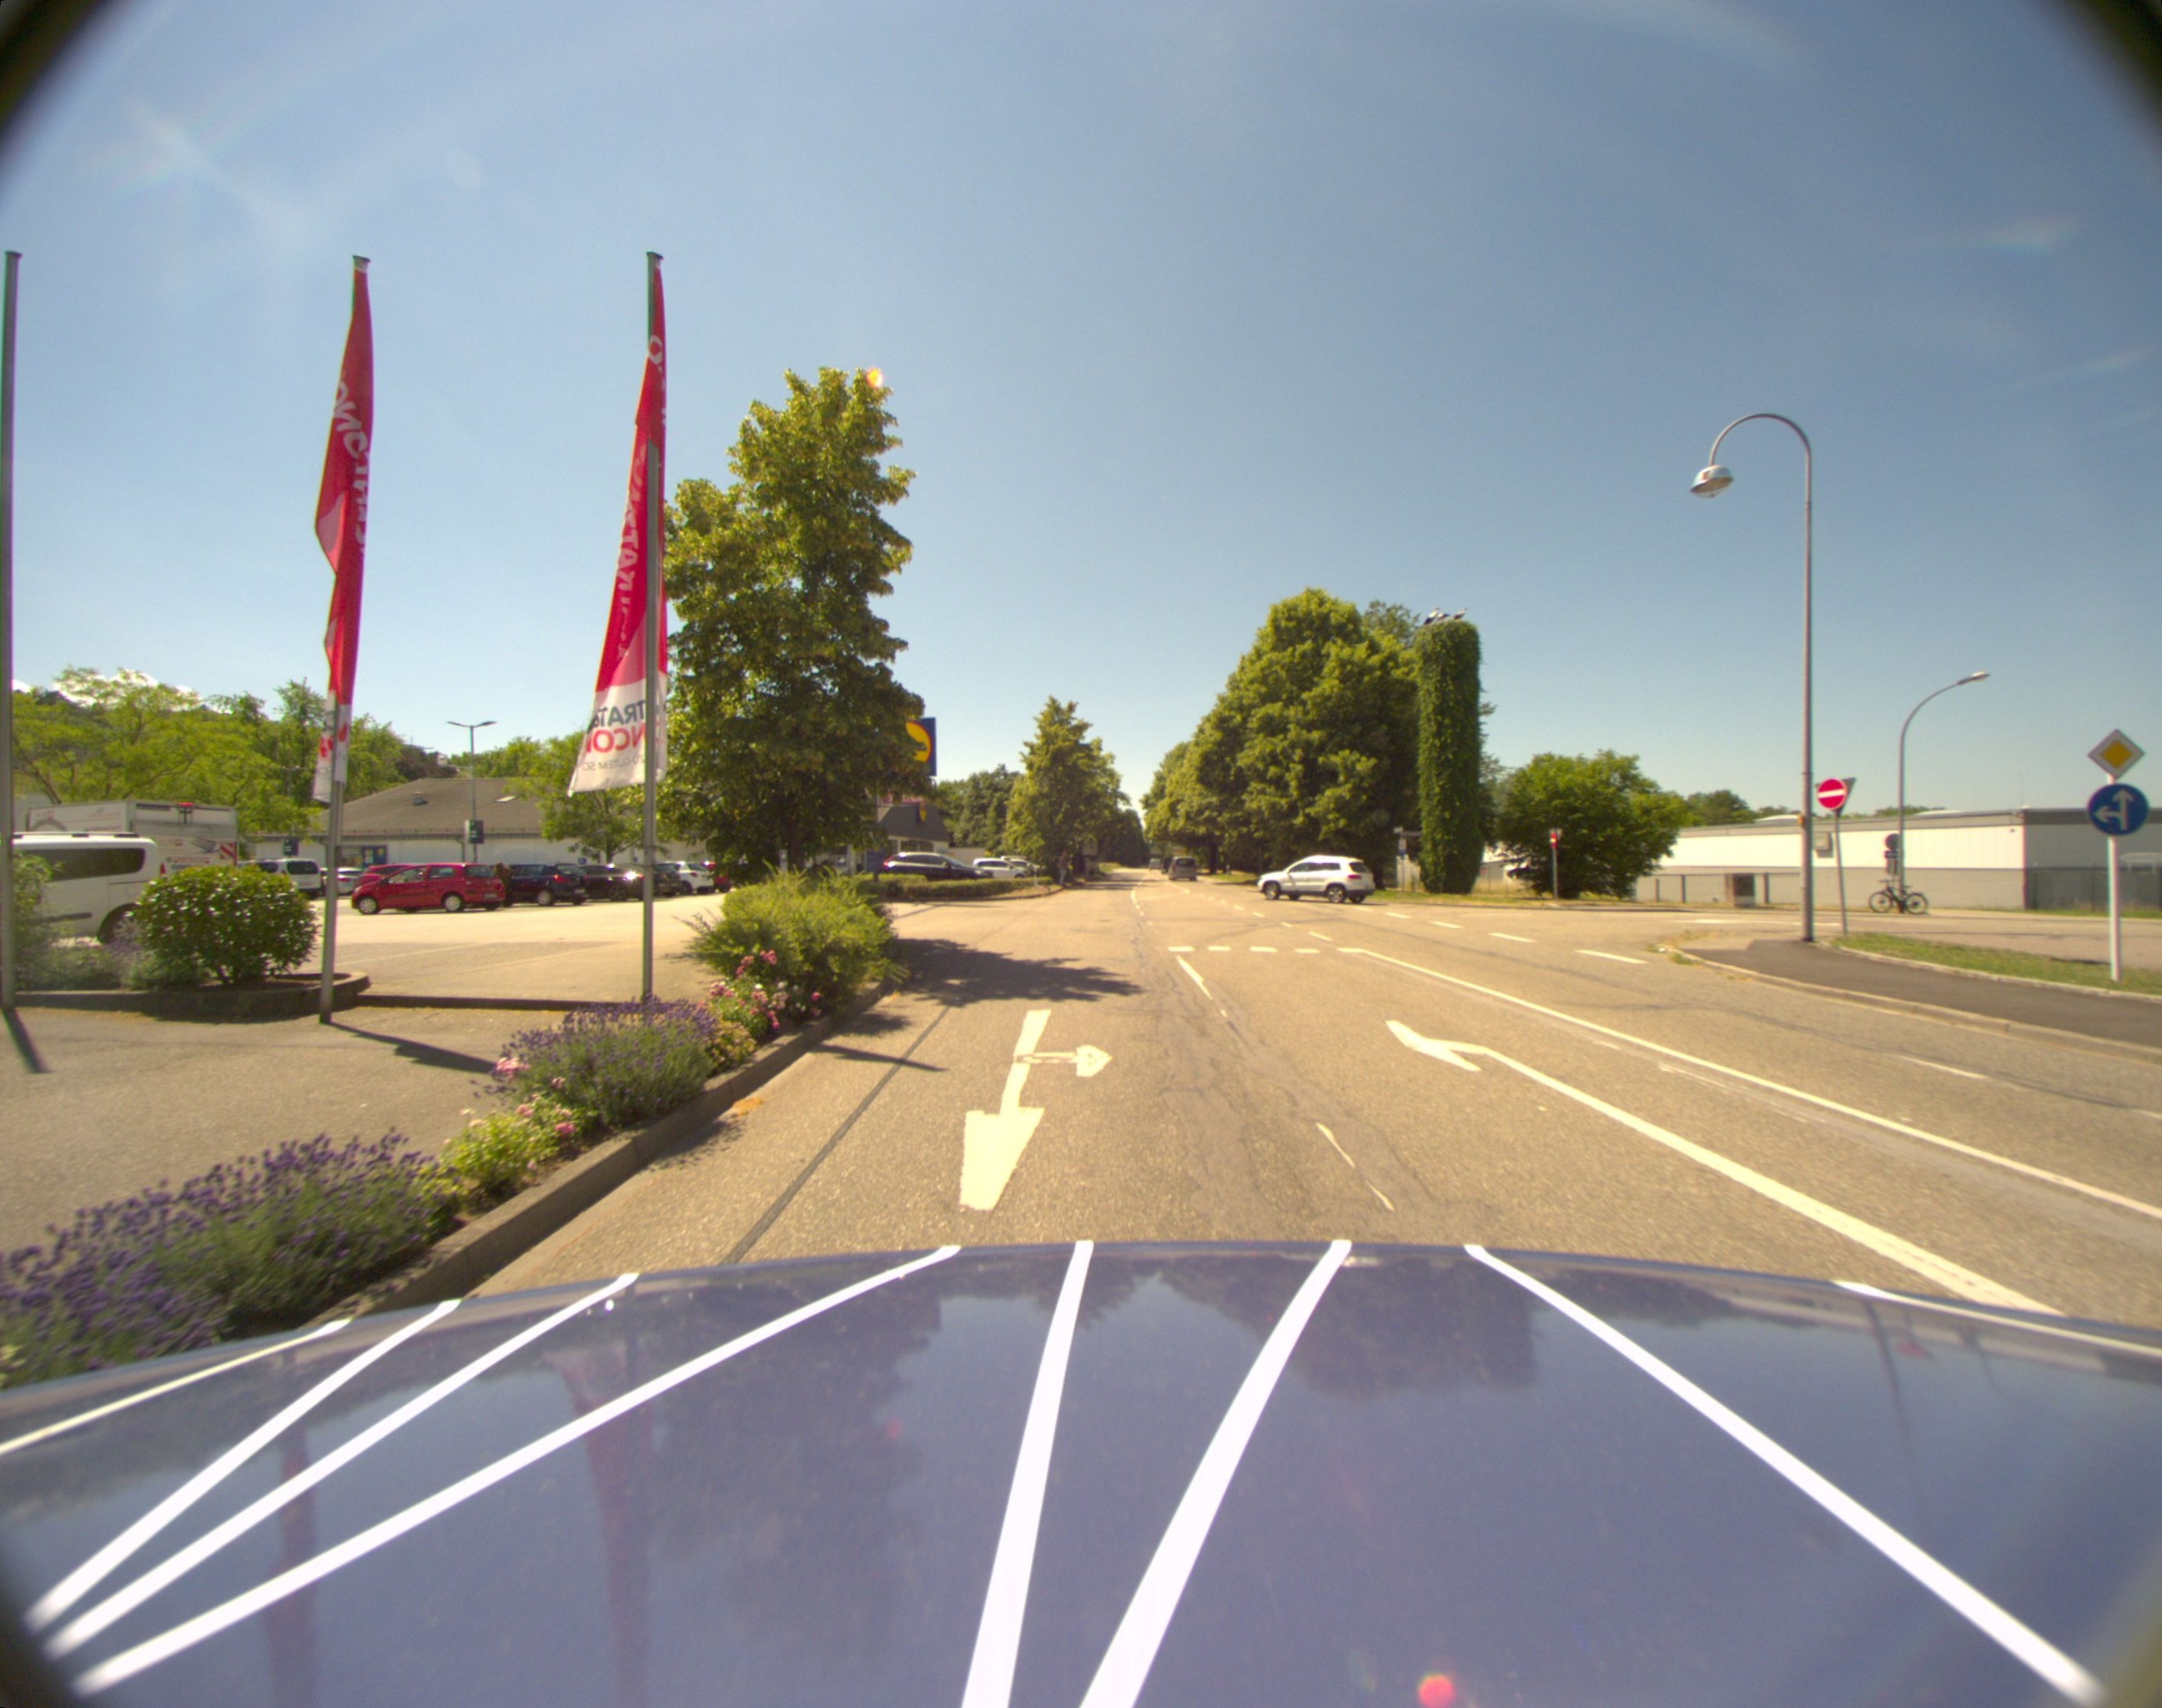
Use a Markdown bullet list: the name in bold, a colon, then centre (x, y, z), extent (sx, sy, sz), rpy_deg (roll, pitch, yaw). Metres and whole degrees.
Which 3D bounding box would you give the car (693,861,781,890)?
- **car**: centre (-17.239, 1.061, 38.177), extent (3.605, 1.408, 1.672), rpy_deg (-1, 0, 2)

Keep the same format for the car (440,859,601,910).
- **car**: centre (-18.711, 0.987, 25.501), extent (4.030, 1.554, 1.808), rpy_deg (-1, 1, 1)

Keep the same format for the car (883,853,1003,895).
- **car**: centre (-5.672, 0.810, 31.550), extent (4.523, 1.658, 1.895), rpy_deg (0, 0, 7)

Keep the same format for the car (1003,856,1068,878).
- **car**: centre (-3.541, 1.033, 59.732), extent (4.859, 1.666, 2.000), rpy_deg (-1, 0, 2)

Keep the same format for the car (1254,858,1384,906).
- **car**: centre (8.893, 0.988, 28.570), extent (4.236, 1.662, 1.980), rpy_deg (0, -1, 44)

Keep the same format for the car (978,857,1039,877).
- **car**: centre (-5.168, 0.941, 54.726), extent (4.241, 1.402, 1.953), rpy_deg (0, 0, 0)

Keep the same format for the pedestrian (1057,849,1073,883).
- **pedestrian**: centre (-0.850, 0.623, 39.986), extent (0.730, 1.778, 0.621), rpy_deg (0, 1, 11)

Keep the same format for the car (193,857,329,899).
- **car**: centre (-35.869, 1.040, 33.311), extent (3.997, 1.780, 1.776), rpy_deg (0, 1, 0)

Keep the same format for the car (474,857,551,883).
- **car**: centre (-36.372, 0.996, 48.722), extent (1.999, 1.543, 3.999), rpy_deg (0, 0, -1)

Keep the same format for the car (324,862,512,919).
- **car**: centre (-19.601, 1.049, 22.601), extent (3.998, 1.523, 1.651), rpy_deg (-1, 0, -3)

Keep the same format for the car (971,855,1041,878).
- **car**: centre (-4.811, 0.799, 49.266), extent (4.321, 1.472, 1.809), rpy_deg (0, 0, 0)

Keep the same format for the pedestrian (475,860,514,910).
- **pedestrian**: centre (-18.694, 0.983, 24.231), extent (0.679, 1.582, 0.707), rpy_deg (0, 1, 3)

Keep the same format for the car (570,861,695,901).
- **car**: centre (-18.121, 1.073, 30.798), extent (4.027, 1.468, 1.728), rpy_deg (-1, 0, 3)

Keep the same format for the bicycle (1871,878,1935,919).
- **bicycle**: centre (27.822, 1.510, 25.729), extent (1.539, 1.341, 0.395), rpy_deg (1, 1, 8)

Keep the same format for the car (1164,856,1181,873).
- **car**: centre (10.142, 1.173, 84.157), extent (1.826, 1.771, 4.785), rpy_deg (1, 0, 7)

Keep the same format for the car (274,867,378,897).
- **car**: centre (-35.430, 1.307, 35.710), extent (3.424, 1.314, 1.429), rpy_deg (0, 1, 0)

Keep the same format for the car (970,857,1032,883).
- **car**: centre (-4.629, 0.927, 44.225), extent (3.406, 1.497, 1.582), rpy_deg (0, 0, 1)

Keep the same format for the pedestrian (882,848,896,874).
- **pedestrian**: centre (-12.909, 0.450, 51.198), extent (0.699, 1.743, 0.785), rpy_deg (0, 1, 2)

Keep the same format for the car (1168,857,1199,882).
- **car**: centre (7.517, 1.136, 56.130), extent (1.800, 1.762, 4.365), rpy_deg (0, 0, 2)

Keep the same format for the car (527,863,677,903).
- **car**: centre (-17.499, 1.040, 27.919), extent (4.254, 1.383, 1.901), rpy_deg (0, 0, -1)

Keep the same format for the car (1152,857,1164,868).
- **car**: centre (13.244, 1.509, 130.828), extent (1.882, 1.823, 5.300), rpy_deg (0, 0, 3)

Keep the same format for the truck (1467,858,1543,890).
- **truck**: centre (38.893, 1.777, 70.146), extent (2.690, 2.780, 10.166), rpy_deg (-1, -1, 8)

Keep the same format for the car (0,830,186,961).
- **car**: centre (-16.280, 0.594, 10.960), extent (1.710, 1.879, 4.256), rpy_deg (0, 0, -1)

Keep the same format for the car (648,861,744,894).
- **car**: centre (-18.037, 1.074, 35.703), extent (3.605, 1.449, 1.746), rpy_deg (-1, 0, 2)

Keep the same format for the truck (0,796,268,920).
- **truck**: centre (-25.010, 0.101, 19.784), extent (5.943, 2.931, 2.425), rpy_deg (0, 0, 11)

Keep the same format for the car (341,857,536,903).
- **car**: centre (-23.845, 0.940, 28.364), extent (5.528, 1.632, 2.000), rpy_deg (0, 0, -1)

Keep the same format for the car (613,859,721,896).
- **car**: centre (-18.058, 1.013, 33.278), extent (3.731, 1.495, 1.819), rpy_deg (-1, 0, 2)

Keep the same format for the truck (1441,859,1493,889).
- **truck**: centre (40.340, 2.016, 79.672), extent (2.438, 2.910, 8.169), rpy_deg (-1, 0, 8)
